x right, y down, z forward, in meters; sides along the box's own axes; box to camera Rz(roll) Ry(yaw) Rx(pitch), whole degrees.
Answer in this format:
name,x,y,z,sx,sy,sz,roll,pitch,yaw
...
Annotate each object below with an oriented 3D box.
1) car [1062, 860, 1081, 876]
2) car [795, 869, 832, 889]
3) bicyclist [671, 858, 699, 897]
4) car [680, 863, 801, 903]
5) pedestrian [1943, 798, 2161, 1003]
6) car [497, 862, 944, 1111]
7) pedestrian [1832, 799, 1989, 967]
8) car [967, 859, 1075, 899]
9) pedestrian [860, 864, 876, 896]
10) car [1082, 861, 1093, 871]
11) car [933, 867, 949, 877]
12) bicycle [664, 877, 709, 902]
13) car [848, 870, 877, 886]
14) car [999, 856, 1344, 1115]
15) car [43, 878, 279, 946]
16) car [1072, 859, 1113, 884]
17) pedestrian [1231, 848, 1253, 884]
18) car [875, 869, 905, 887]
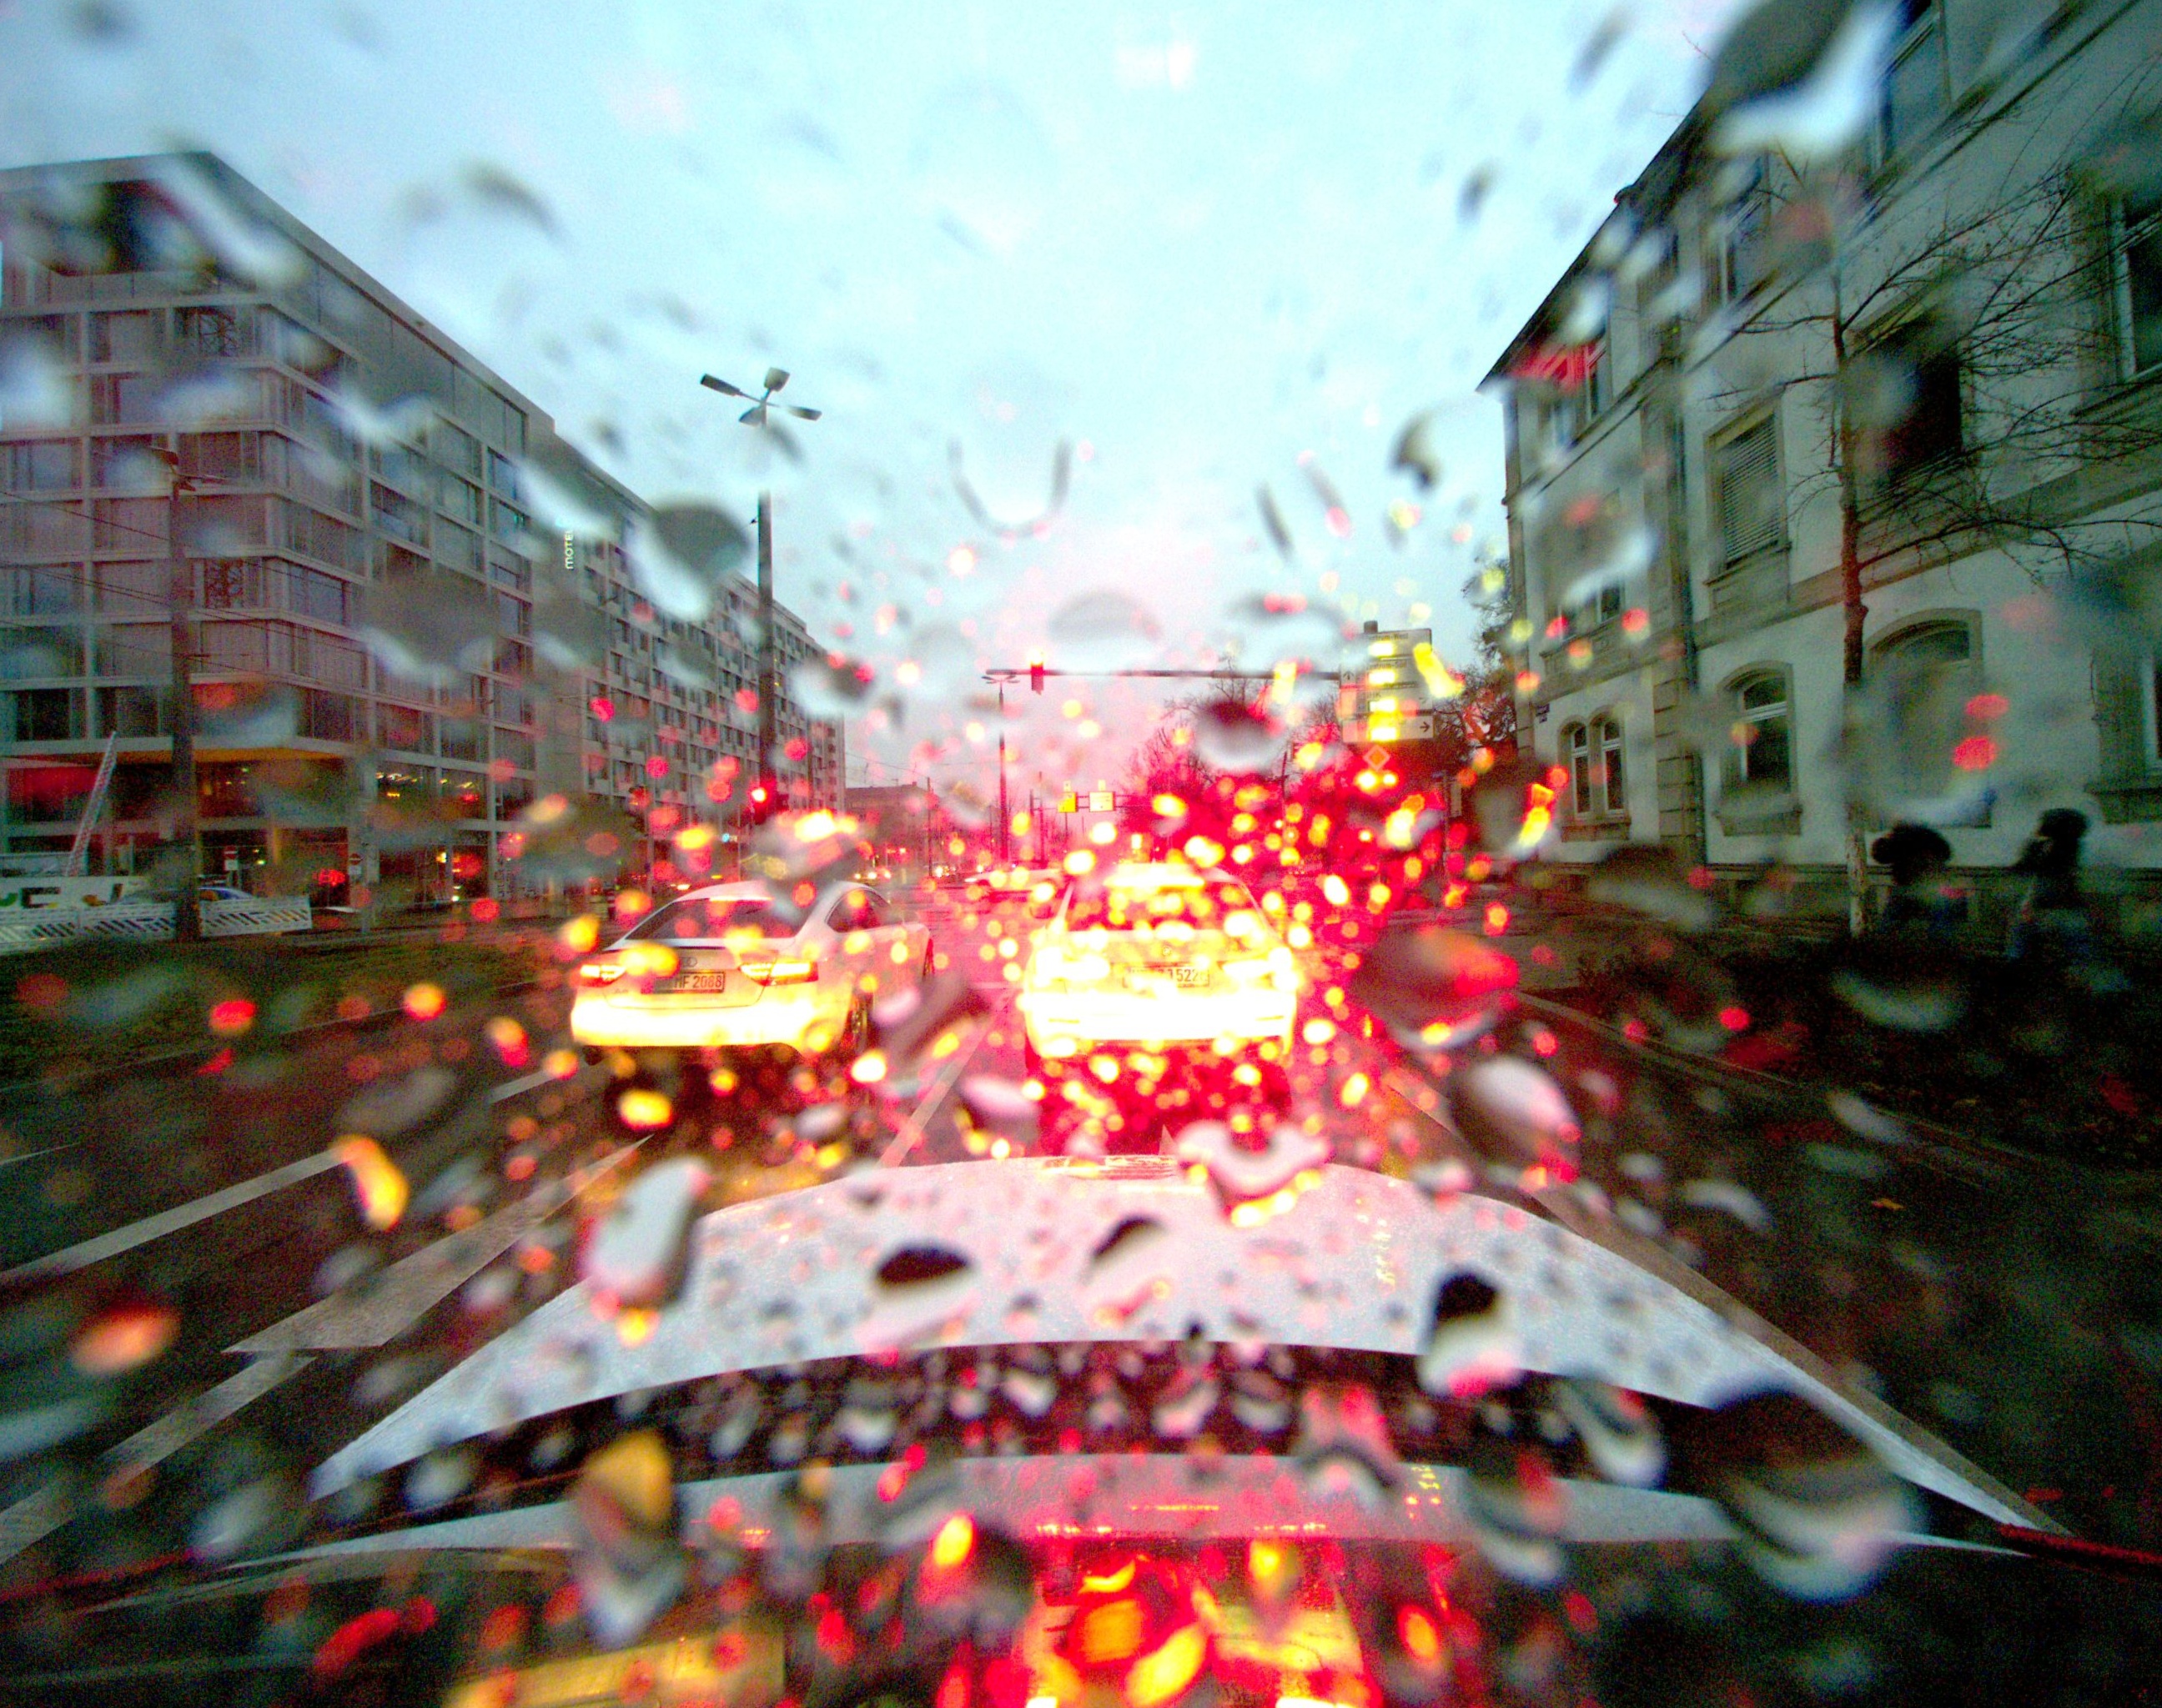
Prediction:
name,x,y,z,sx,sy,sz,roll,pitch,yaw
car,-0.971,1.429,81.557,1.740,1.554,3.962,0,-1,-4
car,-21.383,1.980,65.223,1.669,1.508,3.697,0,-1,1
bicyclist,-18.523,1.093,38.109,0.963,1.759,0.818,-1,-2,38
car,-13.385,1.135,32.262,4.093,1.441,1.833,-1,-1,-10
pedestrian,8.065,0.357,6.722,0.865,1.545,0.930,-2,0,2
car,-2.592,0.837,7.213,1.987,1.456,4.367,-1,0,0
pedestrian,8.729,0.294,8.606,0.864,1.673,0.707,-2,0,4
car,-2.379,0.999,32.909,4.072,1.529,1.843,-1,-1,6
pedestrian,-11.716,1.425,44.765,0.791,1.712,0.809,0,-1,-13
car,1.130,1.999,137.555,1.836,1.609,3.945,0,-1,1
car,-21.357,2.799,124.461,1.669,1.508,3.697,0,-1,1
bicycle,-18.437,1.654,38.021,2.641,1.089,0.820,-1,-1,38
car,-21.044,2.289,78.429,1.669,1.508,3.697,0,-1,1
car,0.531,0.768,6.921,1.987,1.456,4.367,-1,0,0
car,-24.970,1.490,22.274,1.697,1.622,4.025,-1,-1,32
car,0.636,1.046,48.665,1.752,1.402,3.986,0,-1,-10
pedestrian,8.311,0.631,42.000,0.894,1.856,0.817,-1,-1,26
car,-17.264,2.153,73.728,1.669,1.508,3.697,0,-1,1
